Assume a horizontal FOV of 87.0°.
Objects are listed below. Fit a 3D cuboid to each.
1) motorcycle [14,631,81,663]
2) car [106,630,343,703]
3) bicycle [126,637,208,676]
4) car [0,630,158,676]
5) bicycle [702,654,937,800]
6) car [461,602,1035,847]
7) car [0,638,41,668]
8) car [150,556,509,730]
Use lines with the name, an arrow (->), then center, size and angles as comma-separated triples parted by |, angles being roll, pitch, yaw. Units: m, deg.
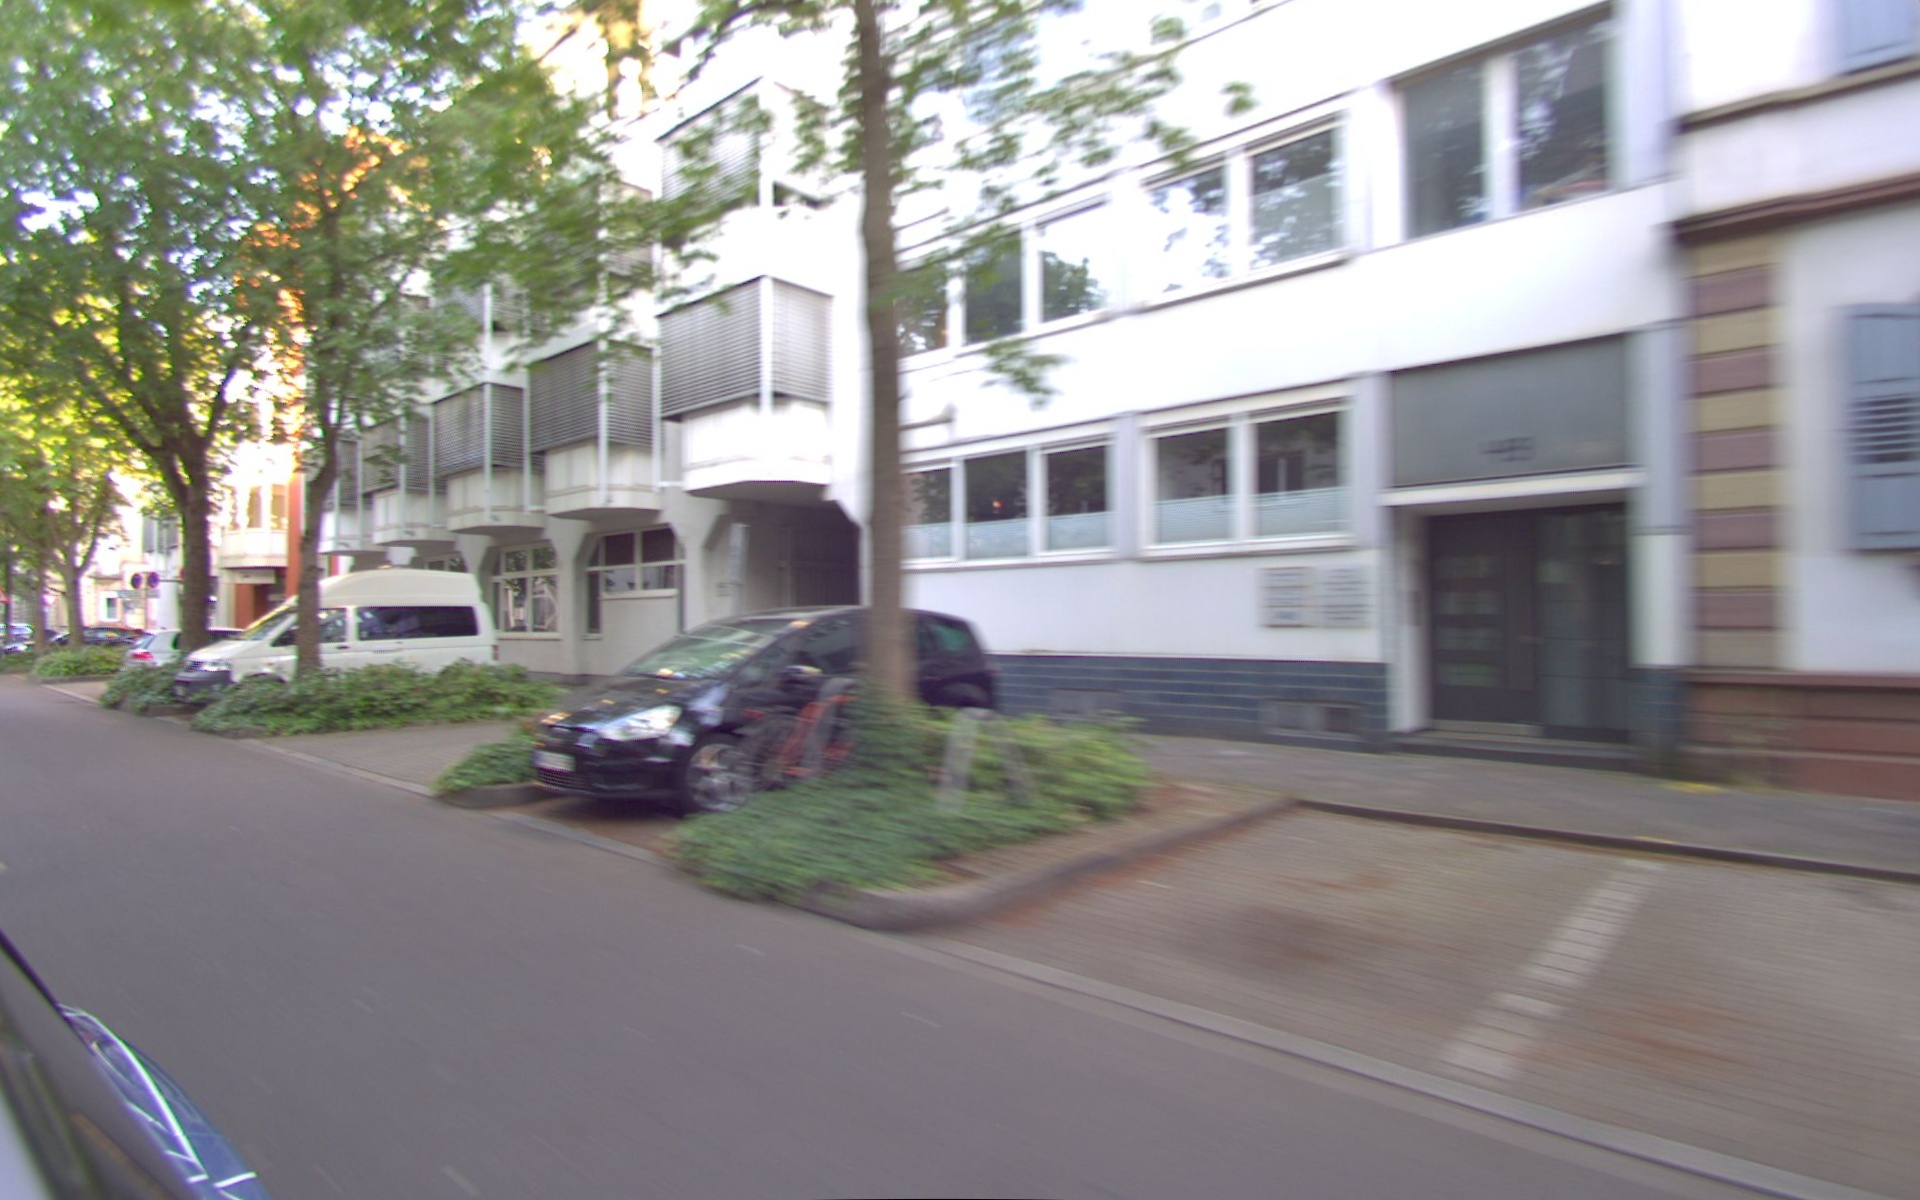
motorcycle -> -43.540, 2.239, 48.343 | 0.895, 1.481, 2.217 | -1, -2, 19
car -> -16.830, 1.458, 23.298 | 1.953, 1.480, 4.123 | -2, -2, 43
bicycle -> -25.171, 1.773, 32.149 | 0.655, 1.185, 1.941 | -2, -2, 35
car -> -32.446, 1.897, 37.142 | 1.871, 1.537, 4.461 | -2, -2, 41
bicycle -> -0.927, 0.815, 6.932 | 0.613, 0.837, 1.535 | -2, -2, 45
car -> -1.653, 0.871, 9.259 | 2.160, 1.634, 4.800 | -2, -2, 43
car -> -58.260, 3.184, 60.738 | 4.537, 1.748, 2.143 | 1, -2, -43
car -> -10.815, 0.695, 17.699 | 2.120, 2.592, 4.950 | -2, -2, 42
